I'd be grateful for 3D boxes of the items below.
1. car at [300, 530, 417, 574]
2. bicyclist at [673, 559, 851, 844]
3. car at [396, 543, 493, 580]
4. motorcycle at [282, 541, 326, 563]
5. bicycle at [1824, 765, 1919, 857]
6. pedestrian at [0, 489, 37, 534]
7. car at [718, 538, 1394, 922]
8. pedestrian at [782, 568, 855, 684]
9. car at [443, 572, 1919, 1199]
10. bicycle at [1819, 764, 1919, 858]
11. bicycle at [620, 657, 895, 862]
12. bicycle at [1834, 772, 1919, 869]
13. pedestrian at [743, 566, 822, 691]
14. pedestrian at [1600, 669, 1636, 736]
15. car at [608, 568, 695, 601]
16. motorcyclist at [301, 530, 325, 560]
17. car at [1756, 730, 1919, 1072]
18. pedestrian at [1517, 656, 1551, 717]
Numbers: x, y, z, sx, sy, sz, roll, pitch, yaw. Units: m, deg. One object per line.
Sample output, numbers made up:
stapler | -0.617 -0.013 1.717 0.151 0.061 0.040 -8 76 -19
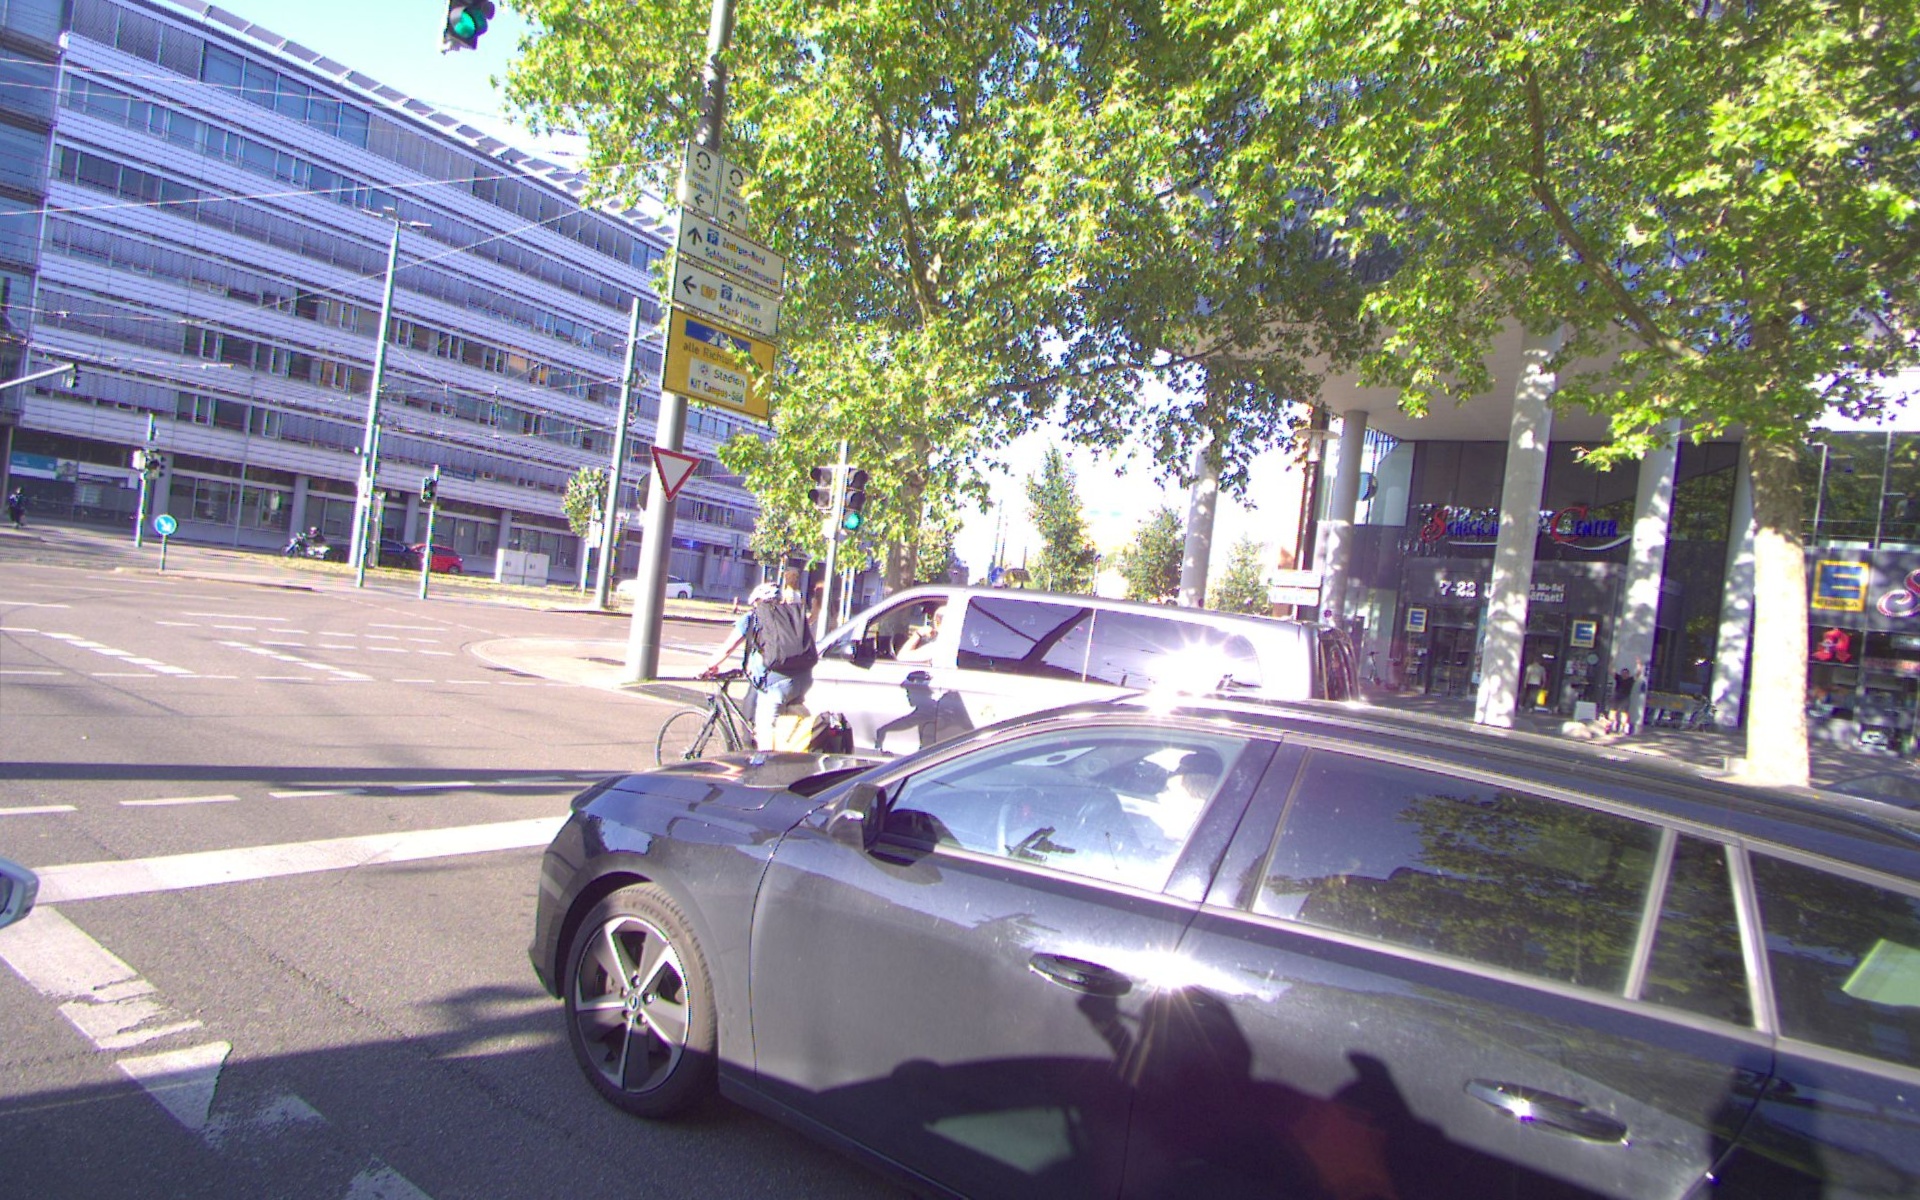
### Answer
car | -27.309 -2.165 45.804 1.758 1.415 4.157 7 0 37
bicyclist | -1.315 0.646 6.700 0.766 1.714 0.632 7 1 32
car | -26.454 -1.958 51.716 1.758 1.411 3.984 7 1 37
motorcycle | -30.178 -2.189 46.298 0.460 0.820 1.568 7 0 36
bicycle | 11.504 2.607 12.355 0.460 0.938 1.210 6 0 -39
pedestrian | -36.867 -3.440 39.298 0.883 1.583 0.947 7 1 38
car | 0.622 0.785 8.253 5.012 2.004 1.939 7 0 31
pedestrian | -2.324 0.436 16.519 0.752 1.799 0.647 7 1 33
car | 0.677 0.915 2.813 4.199 1.431 1.742 7 -2 32
bicycle | 11.206 2.545 12.083 0.437 0.930 1.210 6 0 -39
bicycle | -1.390 1.002 6.731 1.839 0.993 0.561 7 1 32
bicycle | 10.548 2.479 11.097 1.233 0.898 0.462 7 1 32
pedestrian | -2.808 0.451 15.949 0.800 1.868 0.642 7 1 30
pedestrian | 17.554 2.738 26.837 0.598 1.707 0.511 6 1 -41
car | -17.996 -0.902 58.861 1.758 1.353 4.605 7 0 37
motorcyclist | -29.936 -2.536 46.550 0.452 1.291 0.712 7 1 36
car | 6.521 1.724 4.599 4.181 1.503 1.741 7 0 31
pedestrian | 17.404 2.610 30.501 0.706 1.728 0.805 7 1 29
